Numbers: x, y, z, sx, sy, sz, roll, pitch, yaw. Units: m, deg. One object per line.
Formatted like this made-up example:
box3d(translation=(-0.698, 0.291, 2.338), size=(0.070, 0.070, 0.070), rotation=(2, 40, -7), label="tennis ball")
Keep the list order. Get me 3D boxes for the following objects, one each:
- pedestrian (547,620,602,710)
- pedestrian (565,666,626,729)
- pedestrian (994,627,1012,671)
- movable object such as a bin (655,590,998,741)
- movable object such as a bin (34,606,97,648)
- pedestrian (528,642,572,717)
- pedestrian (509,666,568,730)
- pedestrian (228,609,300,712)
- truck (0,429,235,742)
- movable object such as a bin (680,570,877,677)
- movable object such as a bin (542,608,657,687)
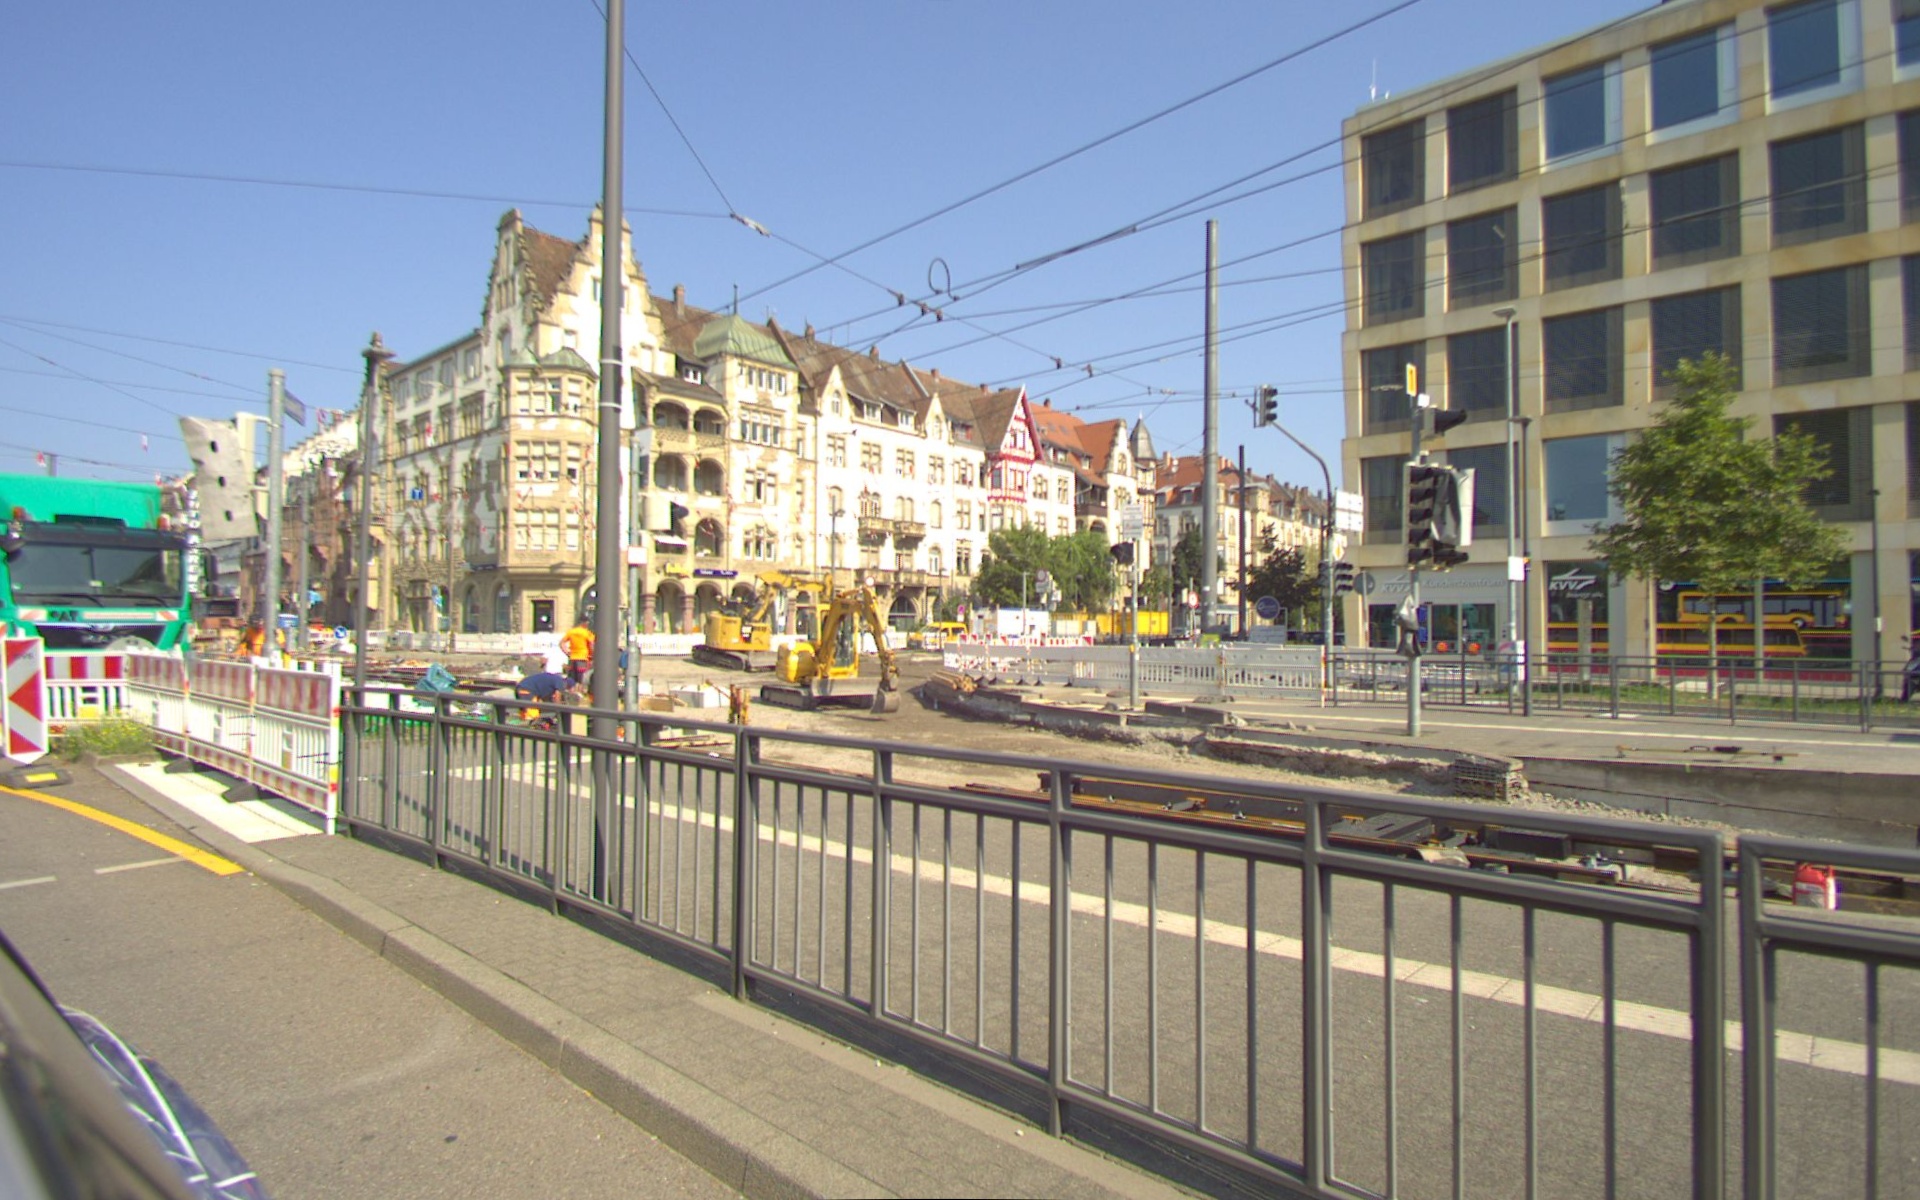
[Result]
box3d(translation=(-6.856, 1.150, 18.025), size=(0.805, 1.578, 0.558), rotation=(0, -3, -8), label="pedestrian")
box3d(translation=(-6.012, 1.592, 16.699), size=(0.933, 0.996, 0.506), rotation=(-2, -3, 37), label="pedestrian")
box3d(translation=(2.070, 2.355, 48.763), size=(0.664, 2.080, 0.894), rotation=(-1, -2, 18), label="pedestrian")
box3d(translation=(-3.454, 1.297, 24.189), size=(8.476, 2.980, 3.574), rotation=(0, 0, 43), label="movable object such as a bin")
box3d(translation=(-35.039, 1.069, 39.619), size=(3.287, 1.571, 1.582), rotation=(-1, -3, 44), label="movable object such as a bin")
box3d(translation=(-8.837, 1.692, 21.804), size=(0.692, 1.578, 0.557), rotation=(2, -4, -43), label="pedestrian")
box3d(translation=(-6.492, 1.493, 15.588), size=(0.808, 0.933, 0.514), rotation=(1, -3, -24), label="pedestrian")
box3d(translation=(-10.974, 0.942, 15.965), size=(0.691, 1.578, 0.752), rotation=(-2, -3, 42), label="pedestrian")
box3d(translation=(-15.062, -0.079, 15.947), size=(8.385, 3.942, 2.773), rotation=(-2, -1, 30), label="truck")
box3d(translation=(-8.166, 1.074, 45.629), size=(7.258, 4.380, 4.982), rotation=(2, -1, -35), label="movable object such as a bin")
box3d(translation=(-13.902, 1.822, 39.409), size=(2.418, 2.856, 4.809), rotation=(0, -2, 5), label="movable object such as a bin")
